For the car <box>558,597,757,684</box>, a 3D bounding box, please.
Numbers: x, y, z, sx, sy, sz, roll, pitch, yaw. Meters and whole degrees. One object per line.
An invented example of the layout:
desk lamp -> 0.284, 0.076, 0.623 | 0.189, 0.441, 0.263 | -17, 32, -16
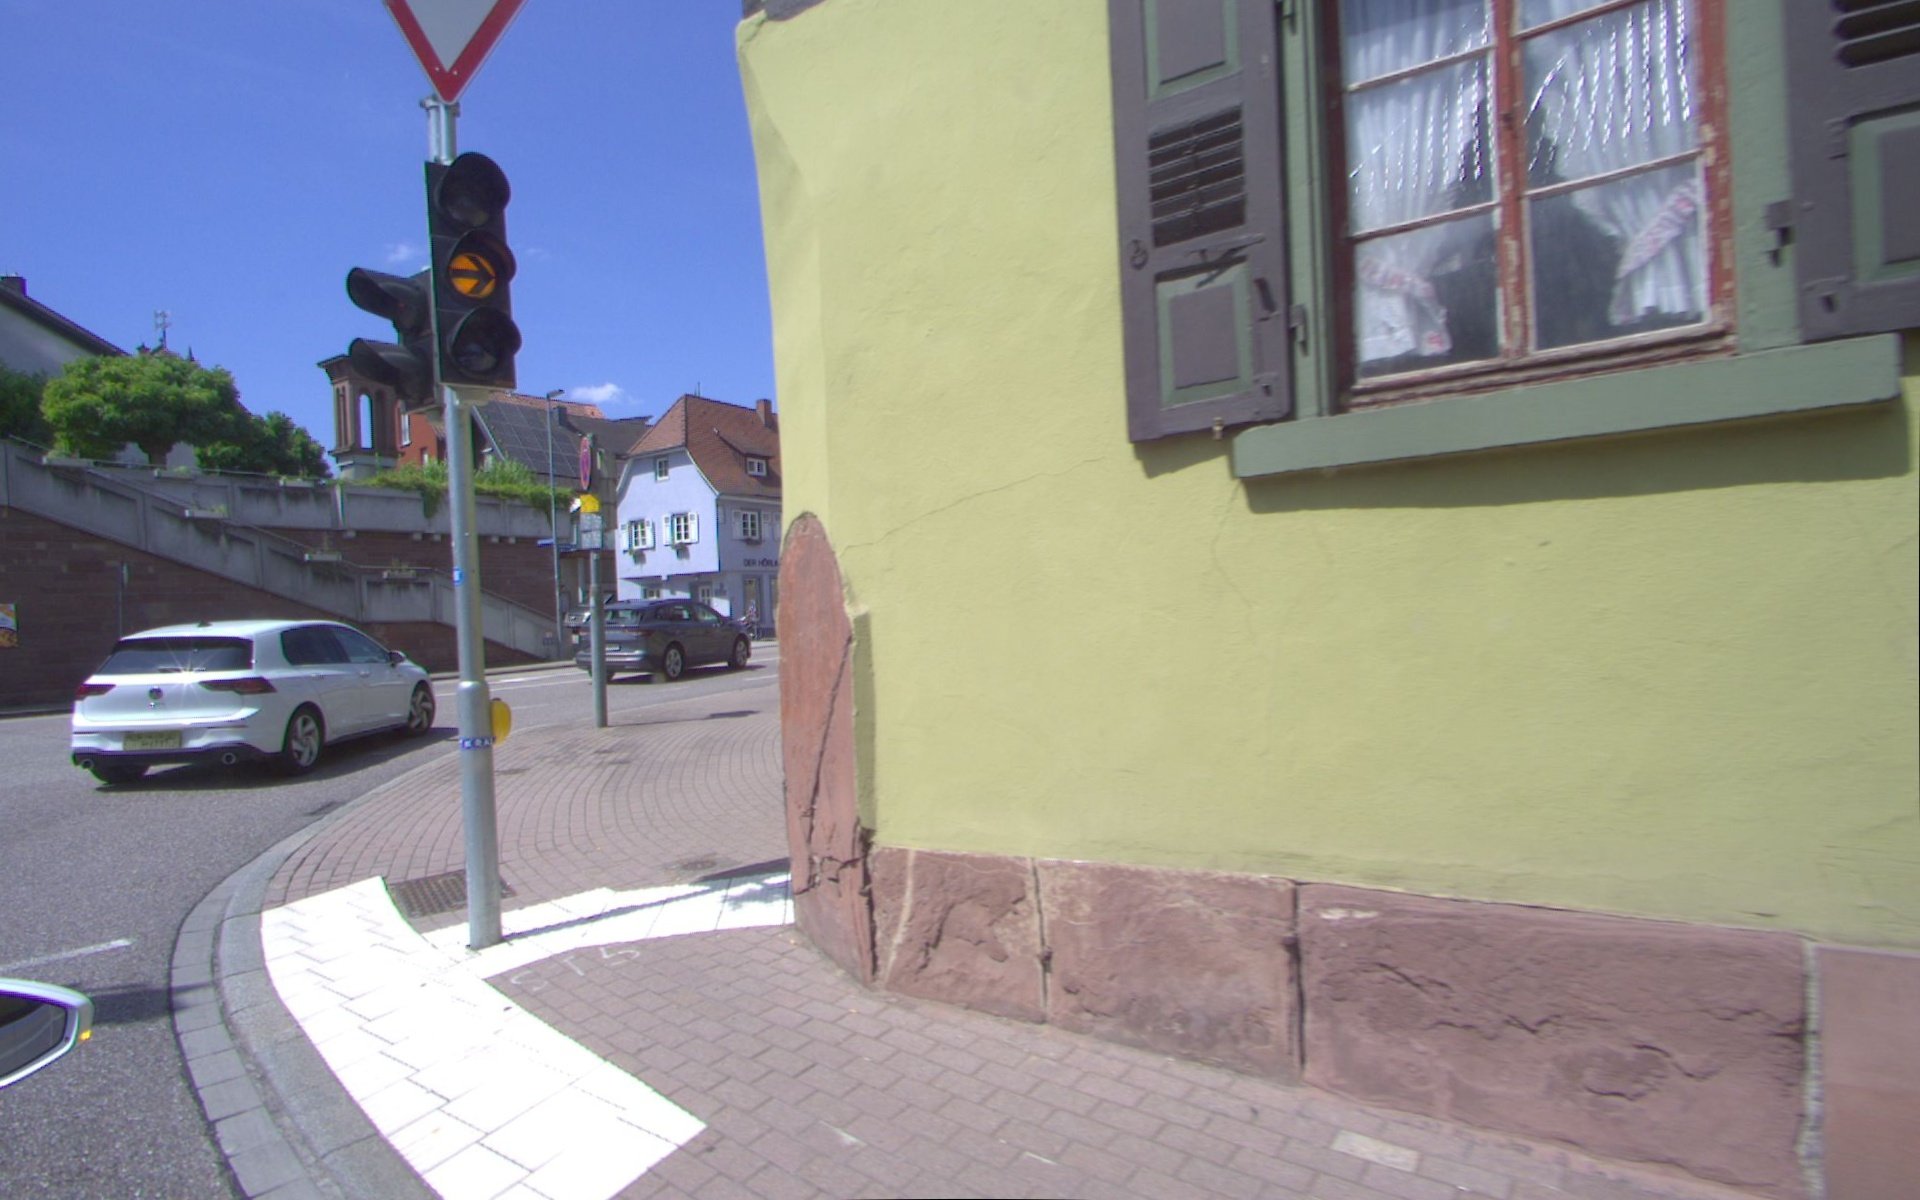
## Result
car -> -6.151, 0.760, 20.955 | 1.920, 1.603, 4.319 | -1, 0, 16

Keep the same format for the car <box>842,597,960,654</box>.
car -> -1.582, 0.688, 28.244 | 1.759, 1.477, 3.852 | -2, 0, 23

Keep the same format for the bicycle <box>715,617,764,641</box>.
bicycle -> -8.645, 1.118, 39.293 | 1.793, 0.911, 0.621 | -1, 0, -23

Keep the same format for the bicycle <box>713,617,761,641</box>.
bicycle -> -8.884, 1.156, 39.912 | 1.793, 0.911, 0.646 | -1, 0, -23

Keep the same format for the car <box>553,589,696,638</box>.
car -> -15.806, 0.613, 47.432 | 2.497, 2.039, 5.945 | -4, -1, 41

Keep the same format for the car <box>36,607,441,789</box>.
car -> -7.133, 0.855, 10.472 | 1.754, 1.477, 3.862 | -2, -1, -7
